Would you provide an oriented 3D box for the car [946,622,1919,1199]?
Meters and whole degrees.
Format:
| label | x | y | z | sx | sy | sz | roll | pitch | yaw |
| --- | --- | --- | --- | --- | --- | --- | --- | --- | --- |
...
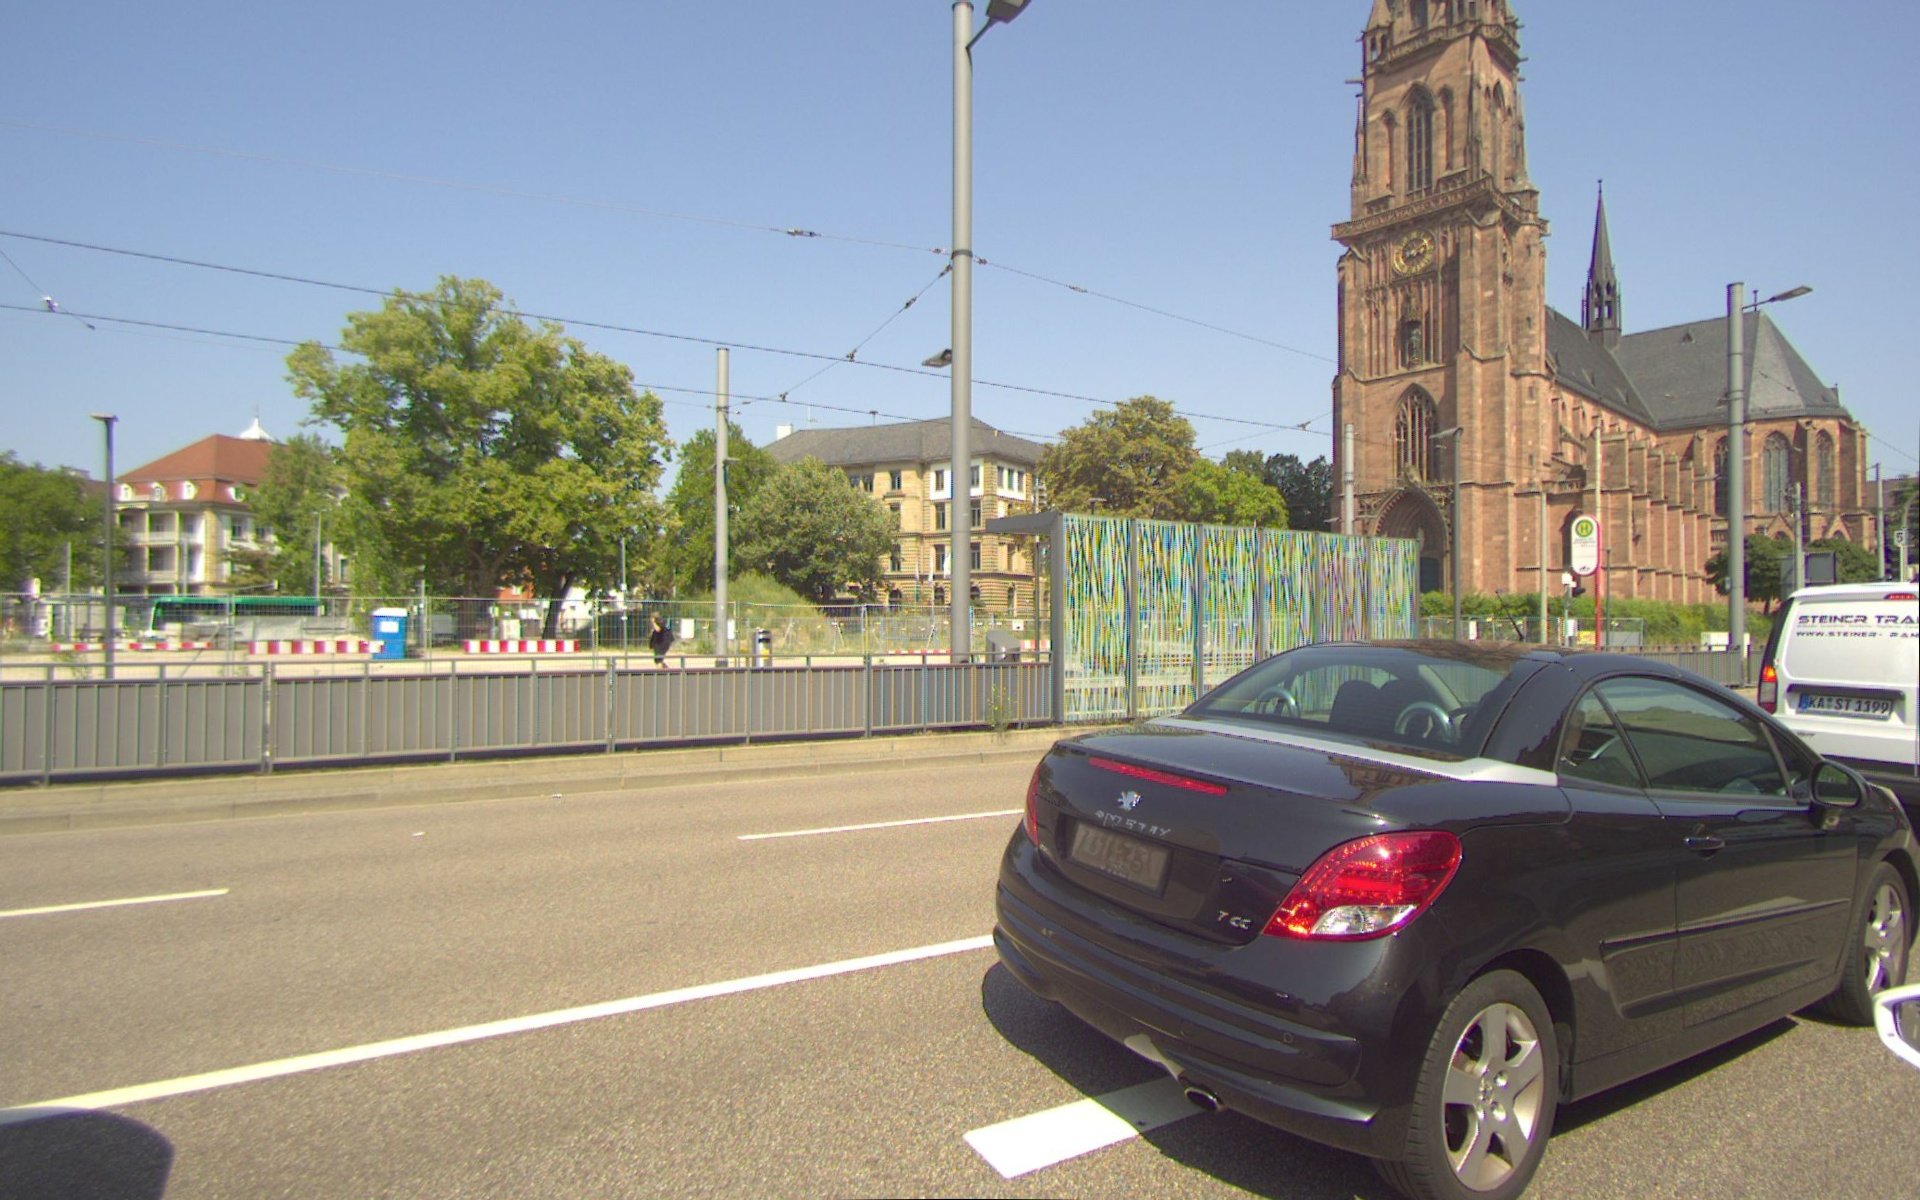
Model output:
| label | x | y | z | sx | sy | sz | roll | pitch | yaw |
| --- | --- | --- | --- | --- | --- | --- | --- | --- | --- |
| car | 1.987 | 0.827 | 3.728 | 3.759 | 1.432 | 1.679 | 1 | 0 | -32 |

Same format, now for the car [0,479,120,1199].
| label | x | y | z | sx | sy | sz | roll | pitch | yaw |
| --- | --- | --- | --- | --- | --- | --- | --- | --- | --- |
| car | -3.347 | 0.577 | 0.730 | 3.920 | 1.642 | 1.623 | 1 | 0 | -30 |

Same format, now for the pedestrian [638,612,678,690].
| label | x | y | z | sx | sy | sz | roll | pitch | yaw |
| --- | --- | --- | --- | --- | --- | --- | --- | --- | --- |
| pedestrian | -7.124 | 1.188 | 23.693 | 0.752 | 1.811 | 0.740 | 1 | -1 | -30 |

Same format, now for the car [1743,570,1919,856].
| label | x | y | z | sx | sy | sz | roll | pitch | yaw |
| --- | --- | --- | --- | --- | --- | --- | --- | --- | --- |
| car | 7.943 | 0.765 | 7.642 | 4.190 | 1.844 | 1.739 | 1 | -1 | -31 |
